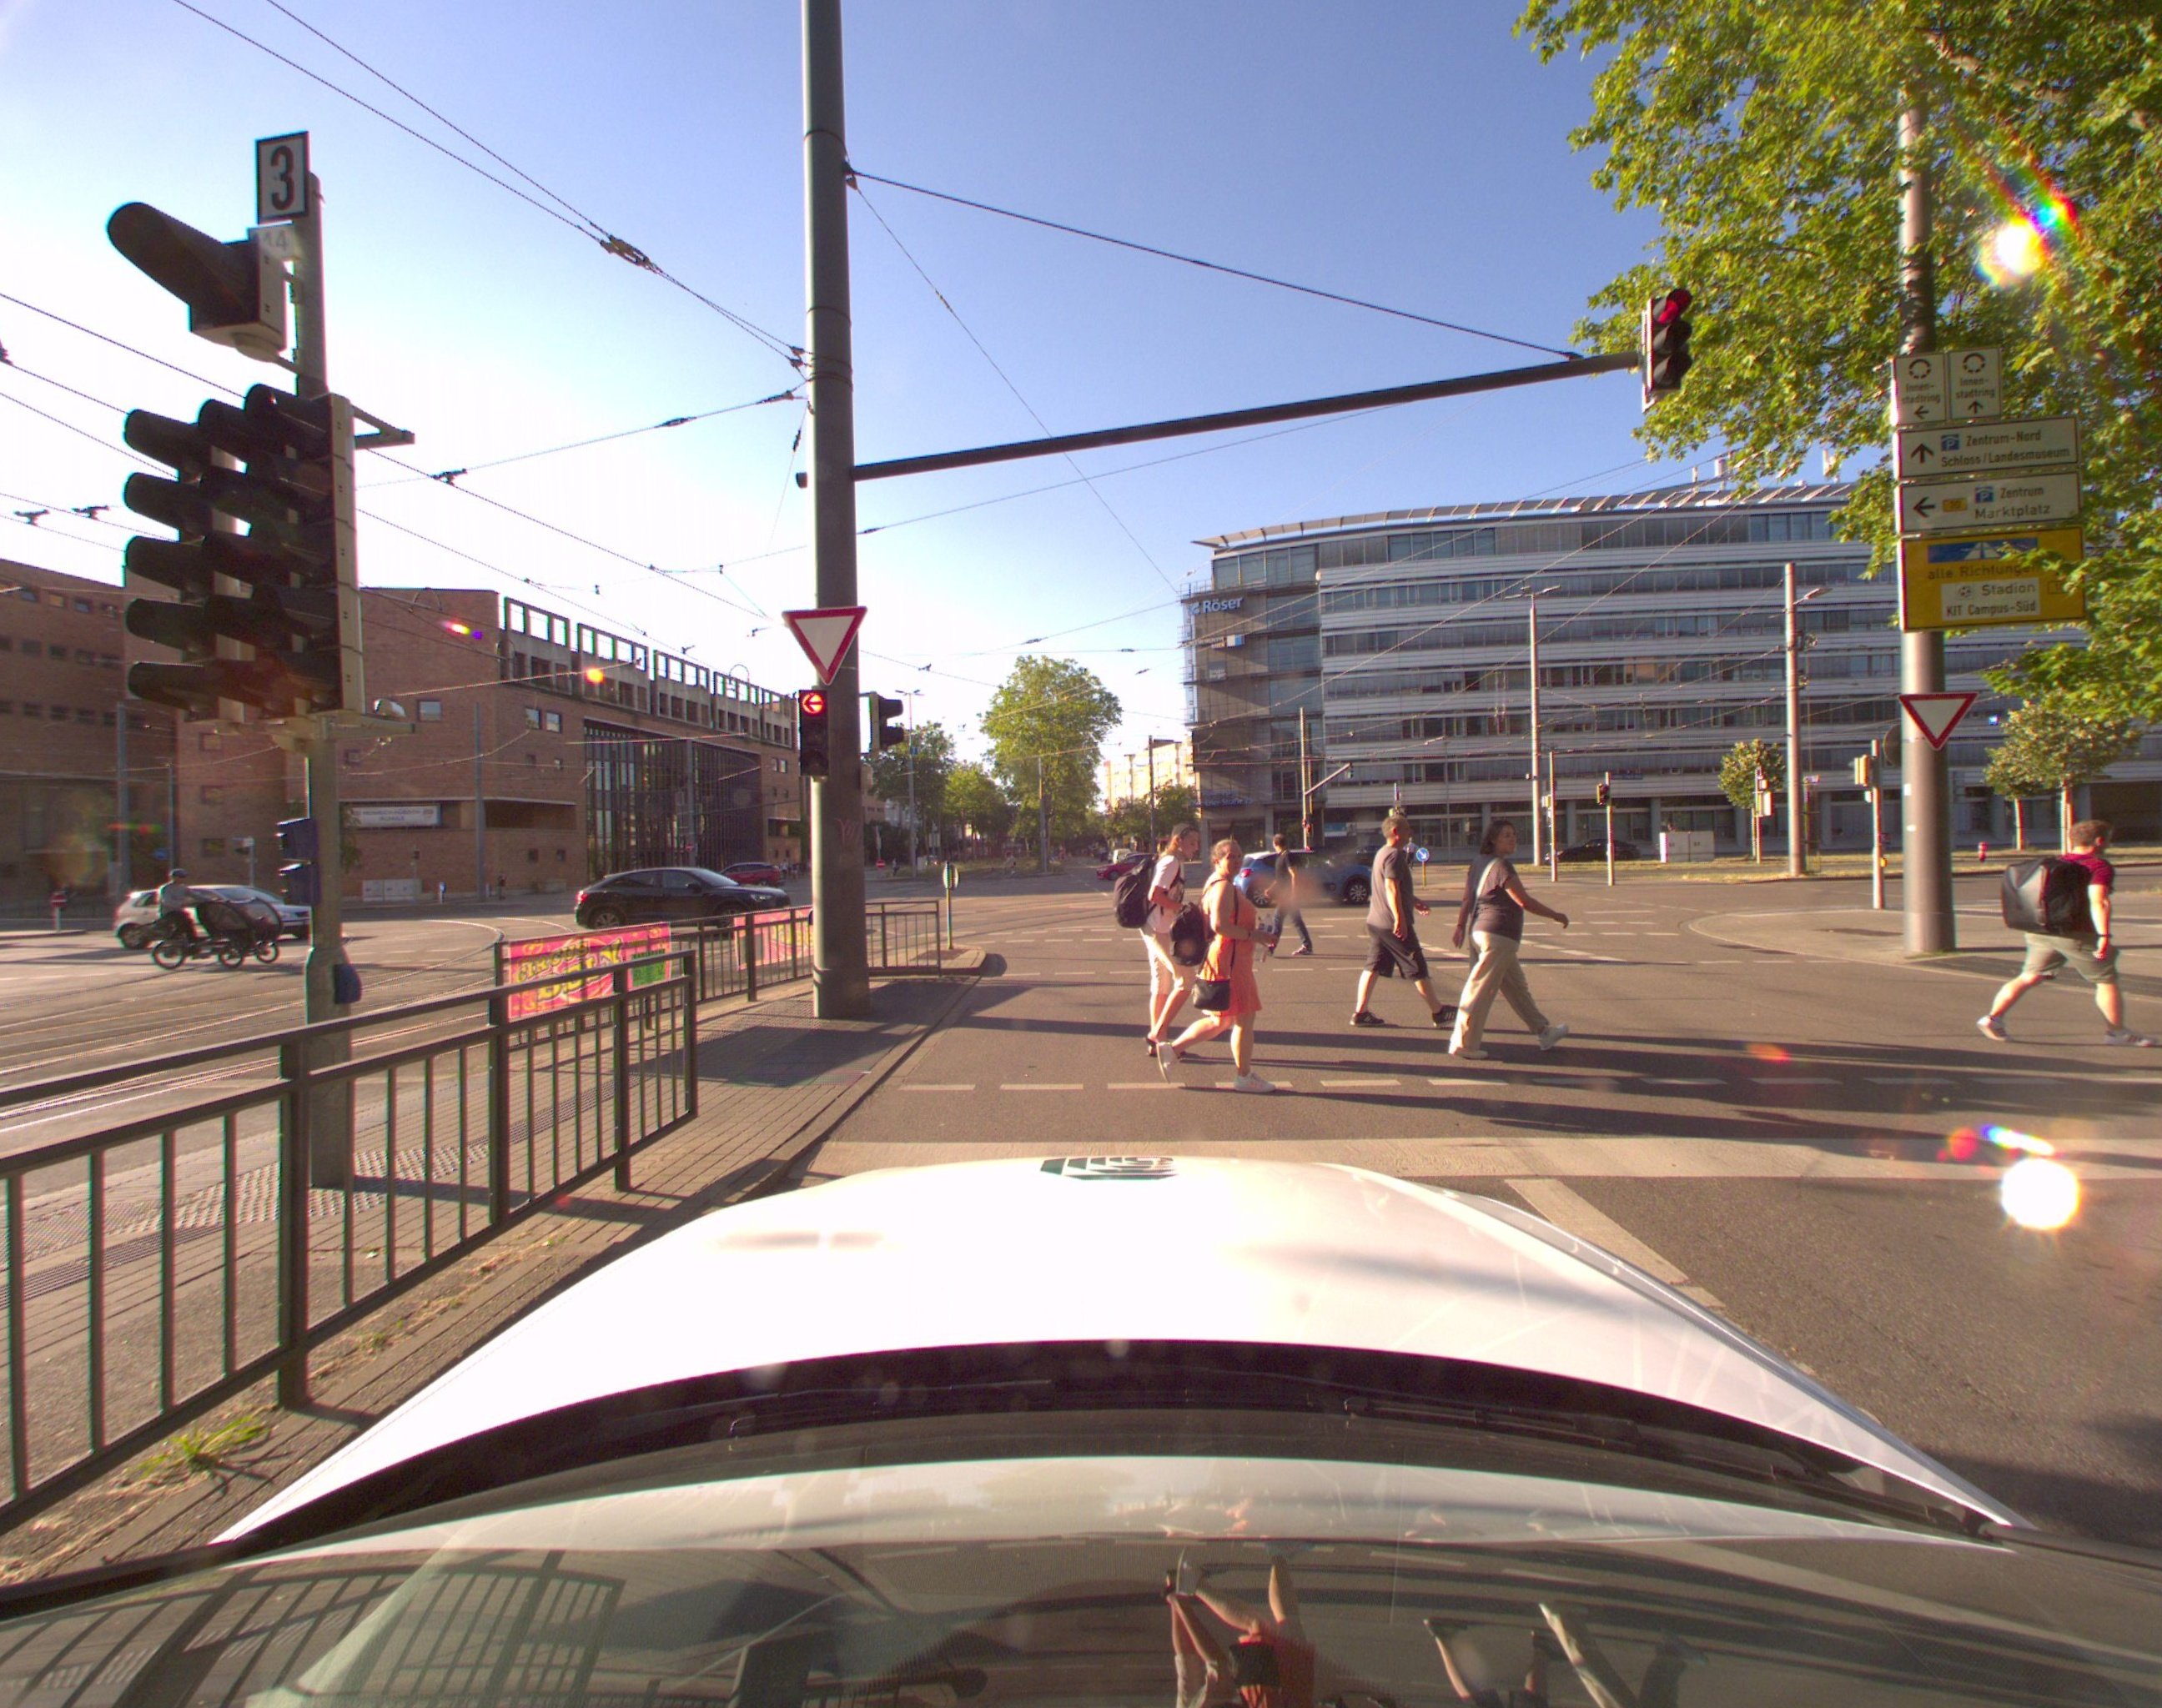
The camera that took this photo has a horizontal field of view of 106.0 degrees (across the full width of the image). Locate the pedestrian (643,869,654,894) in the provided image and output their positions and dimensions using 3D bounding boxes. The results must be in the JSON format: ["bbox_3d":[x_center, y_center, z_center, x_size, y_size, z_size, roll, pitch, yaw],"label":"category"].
[{"bbox_3d":[-30.194,1.912,56.881,0.538,1.650,0.622,-2,0,-17],"label":"pedestrian"}]

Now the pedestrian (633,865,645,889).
[{"bbox_3d":[-31.041,1.622,57.197,0.538,1.650,0.622,-2,0,-17],"label":"pedestrian"}]

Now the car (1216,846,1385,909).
[{"bbox_3d":[5.793,0.593,21.873,3.943,1.456,1.999,-2,0,-2],"label":"car"}]

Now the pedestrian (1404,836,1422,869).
[{"bbox_3d":[17.365,-0.083,42.617,0.715,1.681,0.558,-1,0,9],"label":"pedestrian"}]

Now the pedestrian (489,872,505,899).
[{"bbox_3d":[-35.320,1.903,49.285,0.538,1.613,0.575,-2,0,33],"label":"pedestrian"}]

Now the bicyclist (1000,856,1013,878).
[{"bbox_3d":[-4.771,0.805,52.184,0.817,1.366,0.400,-2,0,-4],"label":"bicyclist"}]

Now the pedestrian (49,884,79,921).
[{"bbox_3d":[-45.858,2.166,36.741,0.542,1.613,0.613,0,1,-3],"label":"pedestrian"}]

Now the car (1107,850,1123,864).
[{"bbox_3d":[4.369,0.343,105.425,1.986,1.662,4.002,-2,0,2],"label":"car"}]

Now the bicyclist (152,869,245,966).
[{"bbox_3d":[-15.962,1.135,14.742,0.900,1.681,0.692,-2,0,5],"label":"bicyclist"}]

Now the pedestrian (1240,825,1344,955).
[{"bbox_3d":[3.065,0.504,11.957,1.206,1.822,1.040,0,-1,-4],"label":"pedestrian"}]

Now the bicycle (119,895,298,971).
[{"bbox_3d":[-15.795,1.421,14.792,2.147,1.226,1.074,-1,1,5],"label":"bicycle"}]

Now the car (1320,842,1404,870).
[{"bbox_3d":[16.247,0.085,47.212,4.238,1.434,1.790,-2,0,-8],"label":"car"}]

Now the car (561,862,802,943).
[{"bbox_3d":[-8.861,1.041,18.364,4.469,1.583,1.824,-2,0,-2],"label":"car"}]

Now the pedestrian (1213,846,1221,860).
[{"bbox_3d":[14.707,-0.133,88.001,0.734,1.465,0.538,-2,0,11],"label":"pedestrian"}]

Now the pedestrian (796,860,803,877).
[{"bbox_3d":[-30.737,1.553,88.927,0.487,1.810,0.547,-2,0,9],"label":"pedestrian"}]

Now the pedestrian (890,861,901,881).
[{"bbox_3d":[-14.483,1.312,63.542,0.753,1.530,0.507,-1,0,-6],"label":"pedestrian"}]

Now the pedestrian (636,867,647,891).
[{"bbox_3d":[-31.292,1.799,57.997,0.538,1.650,0.622,-2,0,-17],"label":"pedestrian"}]

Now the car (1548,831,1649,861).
[{"bbox_3d":[27.751,-0.414,43.795,4.219,1.392,1.799,-2,0,6],"label":"car"}]

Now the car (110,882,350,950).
[{"bbox_3d":[-21.143,1.515,20.373,3.900,1.434,1.823,-2,0,-4],"label":"car"}]

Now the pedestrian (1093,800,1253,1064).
[{"bbox_3d":[0.667,0.550,6.189,1.072,1.871,0.737,0,-1,-6],"label":"pedestrian"}]

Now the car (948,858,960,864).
[{"bbox_3d":[-34.185,1.912,218.668,1.982,1.508,4.011,-2,0,9],"label":"car"}]

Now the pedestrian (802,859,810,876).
[{"bbox_3d":[-29.570,1.469,87.580,0.519,1.779,0.547,-2,0,9],"label":"pedestrian"}]

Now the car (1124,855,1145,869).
[{"bbox_3d":[5.418,0.791,83.227,1.986,1.332,4.002,-2,0,2],"label":"car"}]

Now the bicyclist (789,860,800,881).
[{"bbox_3d":[-23.515,1.334,66.925,0.592,1.675,0.788,-2,0,-4],"label":"bicyclist"}]

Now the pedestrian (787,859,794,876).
[{"bbox_3d":[-31.275,1.480,87.617,0.487,1.810,0.547,-2,0,9],"label":"pedestrian"}]

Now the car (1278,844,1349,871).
[{"bbox_3d":[14.431,0.209,50.657,3.854,1.507,1.792,-2,0,-5],"label":"car"}]

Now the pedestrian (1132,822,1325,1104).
[{"bbox_3d":[0.920,0.649,5.297,1.071,1.682,0.756,0,-1,-6],"label":"pedestrian"}]

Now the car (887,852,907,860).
[{"bbox_3d":[-39.333,0.453,174.145,4.011,1.552,1.592,0,-1,-30],"label":"car"}]

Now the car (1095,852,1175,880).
[{"bbox_3d":[3.027,0.671,46.045,4.235,1.392,1.792,-2,0,-6],"label":"car"}]

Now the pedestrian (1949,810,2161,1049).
[{"bbox_3d":[7.505,0.542,6.221,1.070,1.715,0.628,-1,-1,-2],"label":"pedestrian"}]

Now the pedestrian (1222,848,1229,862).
[{"bbox_3d":[15.604,0.138,87.764,0.701,1.465,0.385,-2,0,11],"label":"pedestrian"}]

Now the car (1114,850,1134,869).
[{"bbox_3d":[4.727,0.590,90.089,1.986,1.991,4.002,-2,0,2],"label":"car"}]

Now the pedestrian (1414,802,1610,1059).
[{"bbox_3d":[3.221,0.537,6.164,1.070,1.806,0.756,0,-1,-6],"label":"pedestrian"}]

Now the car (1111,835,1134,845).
[{"bbox_3d":[7.240,-2.411,141.652,3.732,1.750,1.789,0,-1,16],"label":"car"}]

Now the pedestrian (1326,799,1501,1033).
[{"bbox_3d":[2.839,0.503,7.056,1.143,1.894,0.831,0,-1,-6],"label":"pedestrian"}]

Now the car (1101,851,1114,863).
[{"bbox_3d":[4.113,0.468,127.163,1.986,1.662,4.002,-2,0,2],"label":"car"}]

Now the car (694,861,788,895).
[{"bbox_3d":[-18.103,1.252,43.480,4.240,1.602,1.790,-2,0,-9],"label":"car"}]

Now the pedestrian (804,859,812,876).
[{"bbox_3d":[-29.748,1.451,88.800,0.637,1.810,0.547,-2,0,9],"label":"pedestrian"}]

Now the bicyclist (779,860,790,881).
[{"bbox_3d":[-24.283,1.336,66.687,0.592,1.675,0.788,-2,0,-4],"label":"bicyclist"}]

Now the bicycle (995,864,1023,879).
[{"bbox_3d":[-4.590,1.133,52.195,1.738,0.899,0.408,-2,0,-4],"label":"bicycle"}]
